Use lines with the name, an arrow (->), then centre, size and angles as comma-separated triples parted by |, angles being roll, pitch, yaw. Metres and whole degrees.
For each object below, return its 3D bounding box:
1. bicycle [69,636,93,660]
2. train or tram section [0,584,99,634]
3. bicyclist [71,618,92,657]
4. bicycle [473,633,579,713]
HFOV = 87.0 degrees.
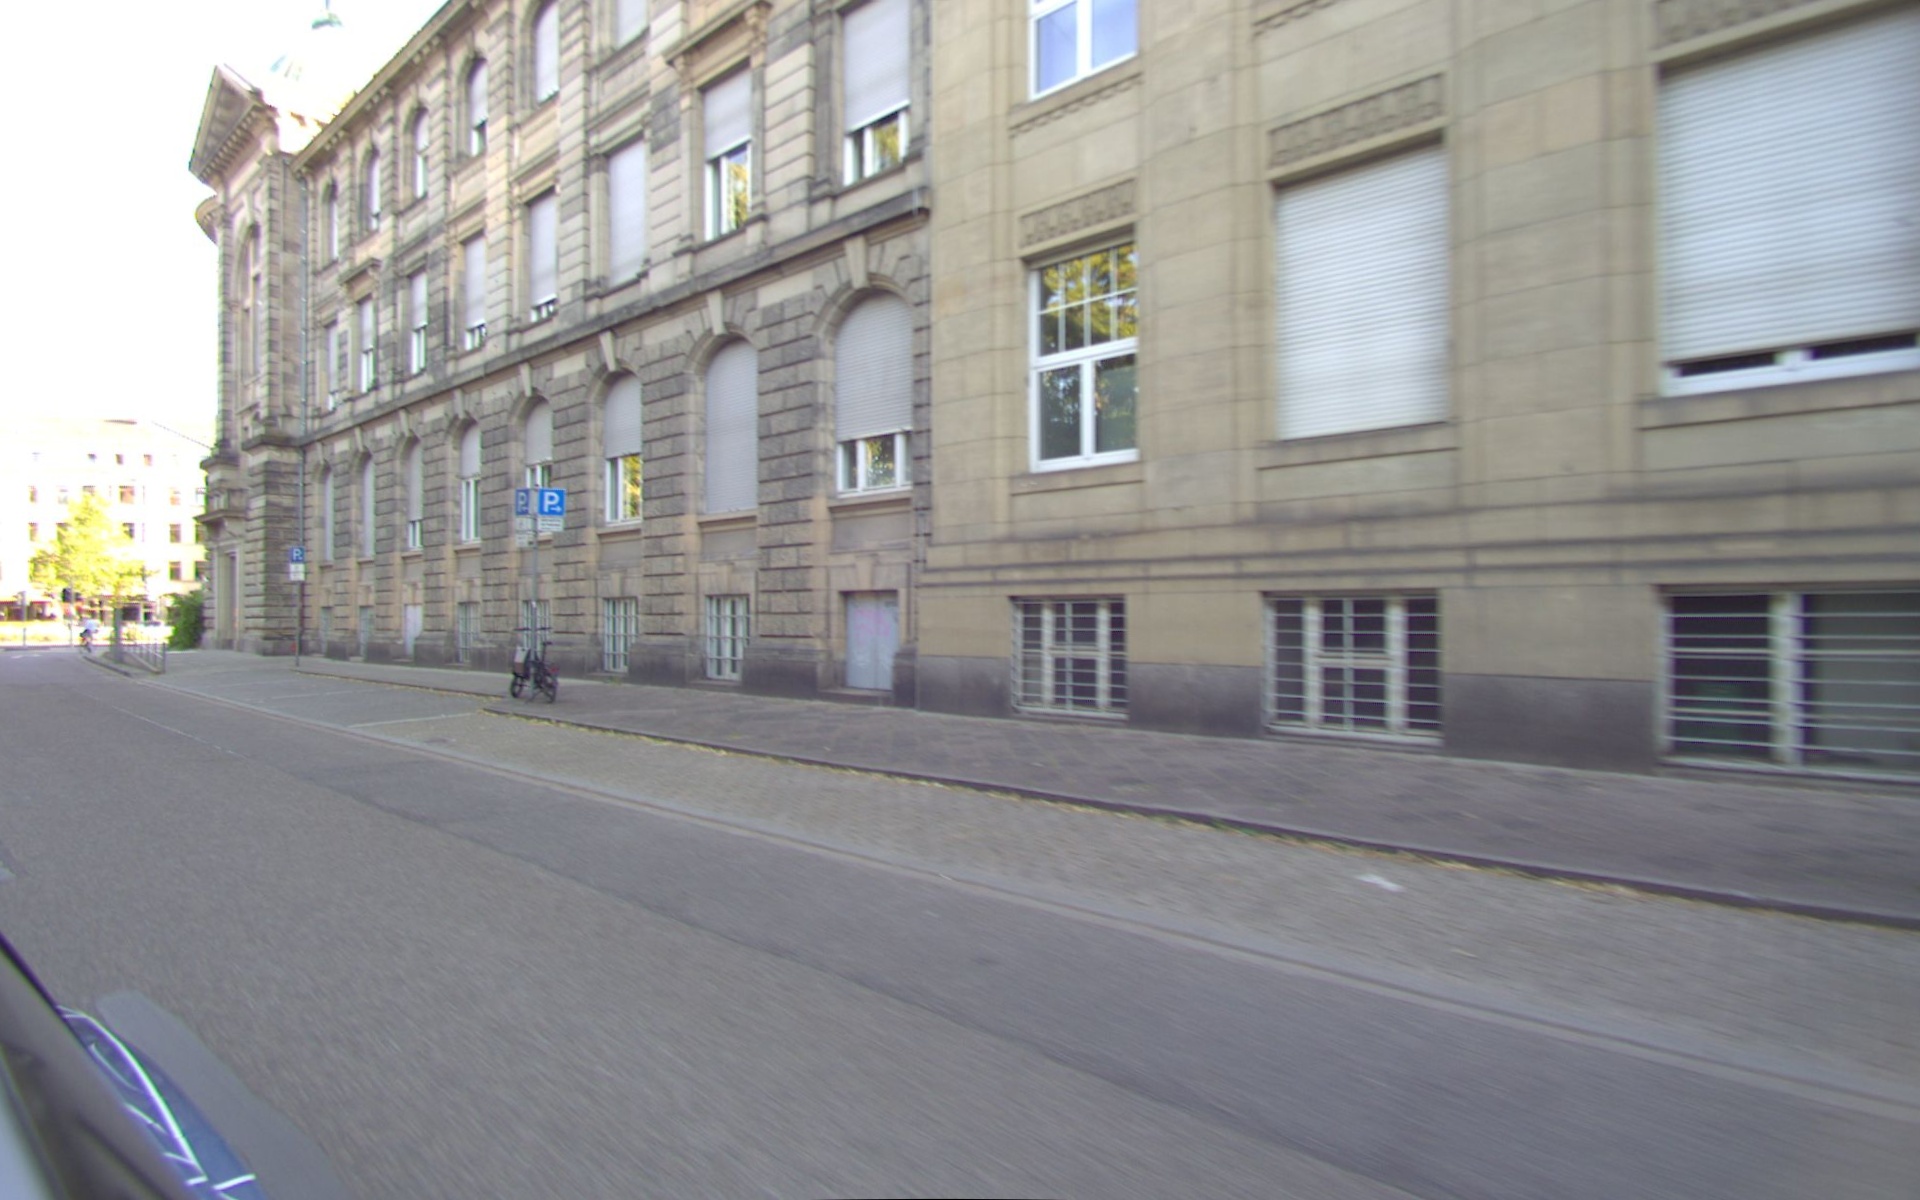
bicycle -> -40.708, 2.200, 46.887 | 0.654, 1.078, 2.158 | 1, -2, -37
train or tram section -> -75.128, 0.707, 73.883 | 19.604, 3.586, 3.129 | 0, -2, -11
bicyclist -> -40.751, 1.730, 46.966 | 0.636, 1.821, 0.782 | 1, -2, -37
bicycle -> -6.754, 1.093, 15.699 | 0.842, 1.110, 1.983 | -2, 0, -44
